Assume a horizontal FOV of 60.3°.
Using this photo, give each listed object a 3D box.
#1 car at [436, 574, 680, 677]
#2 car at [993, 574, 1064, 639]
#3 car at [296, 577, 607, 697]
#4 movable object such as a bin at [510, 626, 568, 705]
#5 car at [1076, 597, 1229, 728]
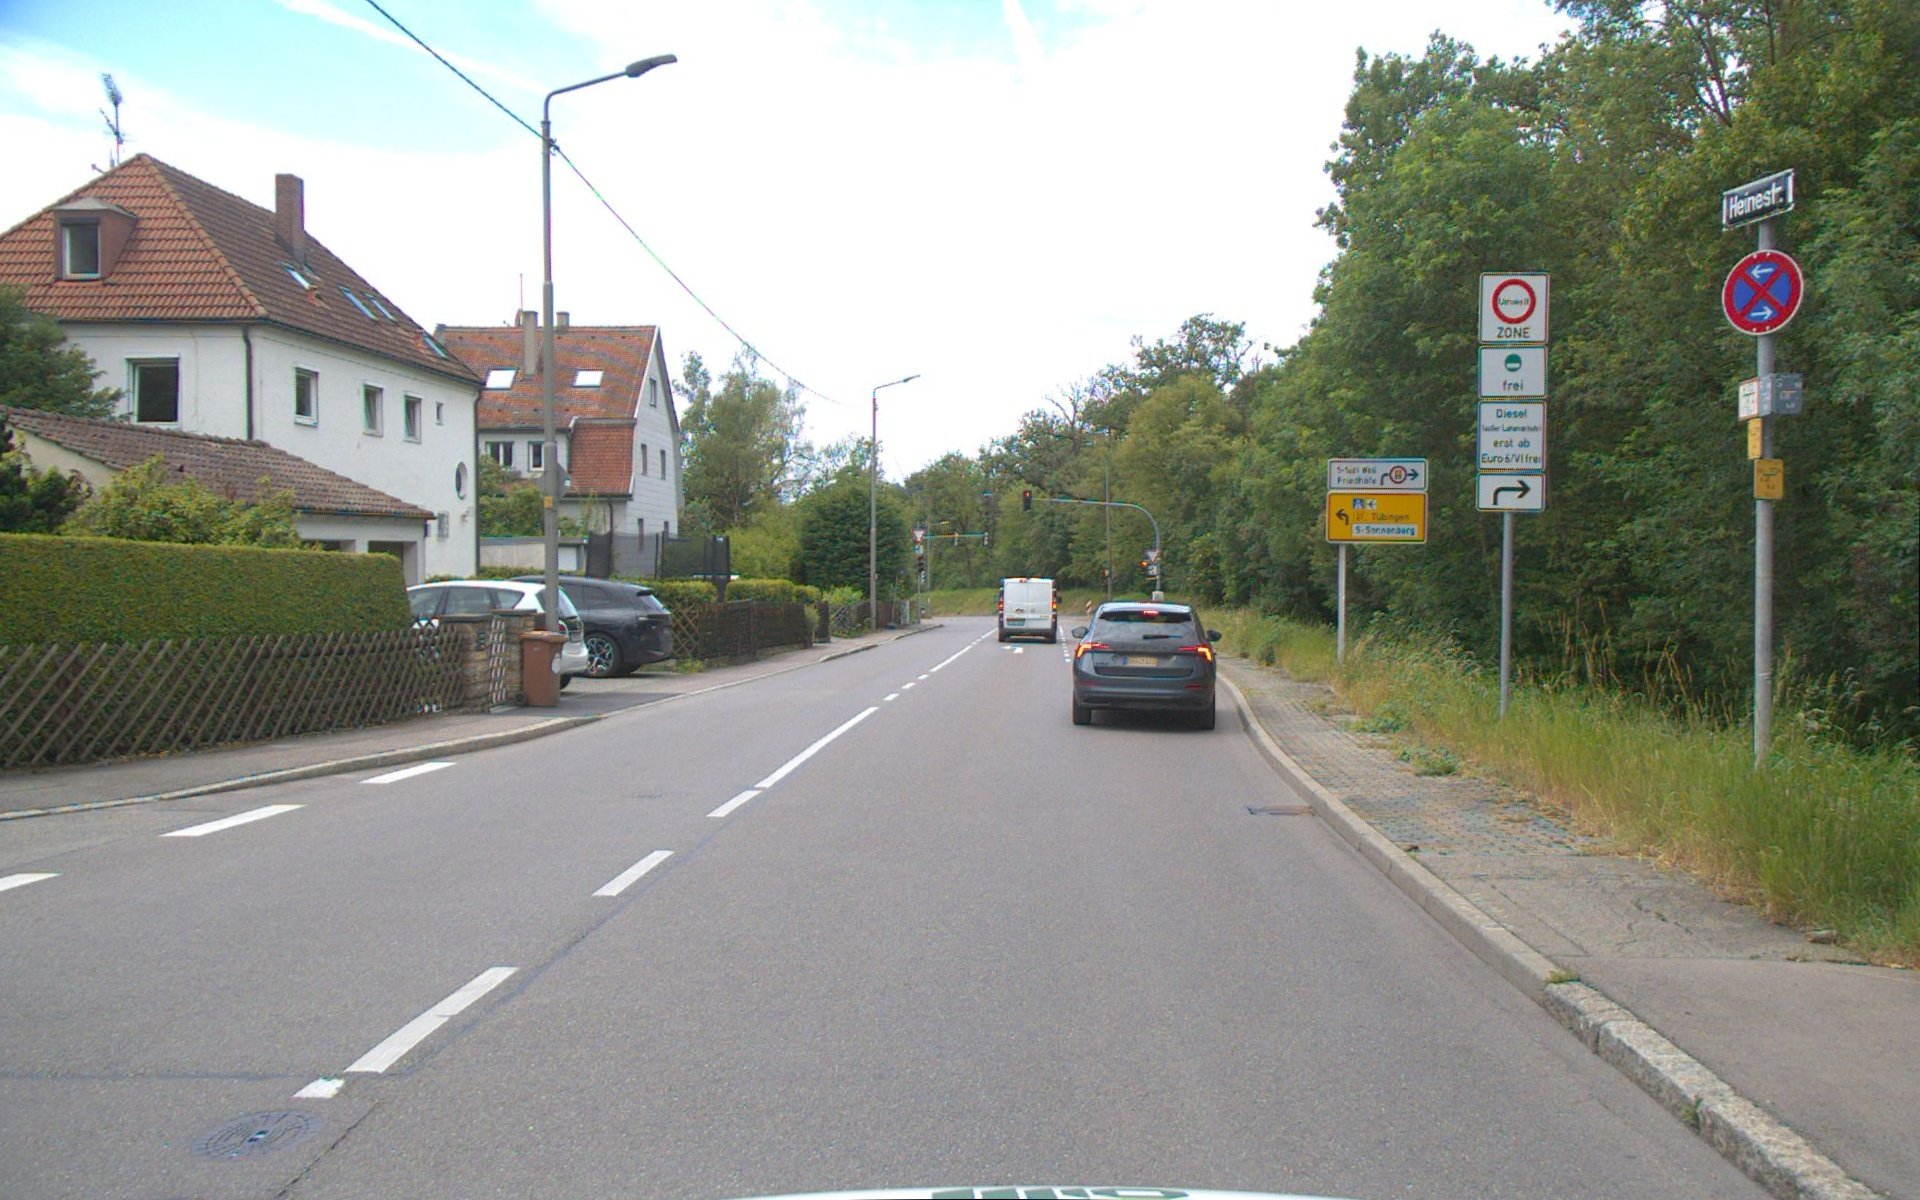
[{"bbox_3d":[-7.008,0.421,29.163,3.909,1.736,1.914,0,0,-5],"label":"car"},{"bbox_3d":[2.142,0.195,52.865,2.029,1.956,4.922,0,0,0],"label":"car"},{"bbox_3d":[-7.267,0.510,23.965,3.906,1.646,1.999,0,0,-2],"label":"car"},{"bbox_3d":[-5.270,0.814,20.720,0.587,0.967,0.579,0,0,-1],"label":"movable object such as a bin"},{"bbox_3d":[2.338,0.707,20.938,1.691,1.464,4.325,0,0,4],"label":"car"}]
